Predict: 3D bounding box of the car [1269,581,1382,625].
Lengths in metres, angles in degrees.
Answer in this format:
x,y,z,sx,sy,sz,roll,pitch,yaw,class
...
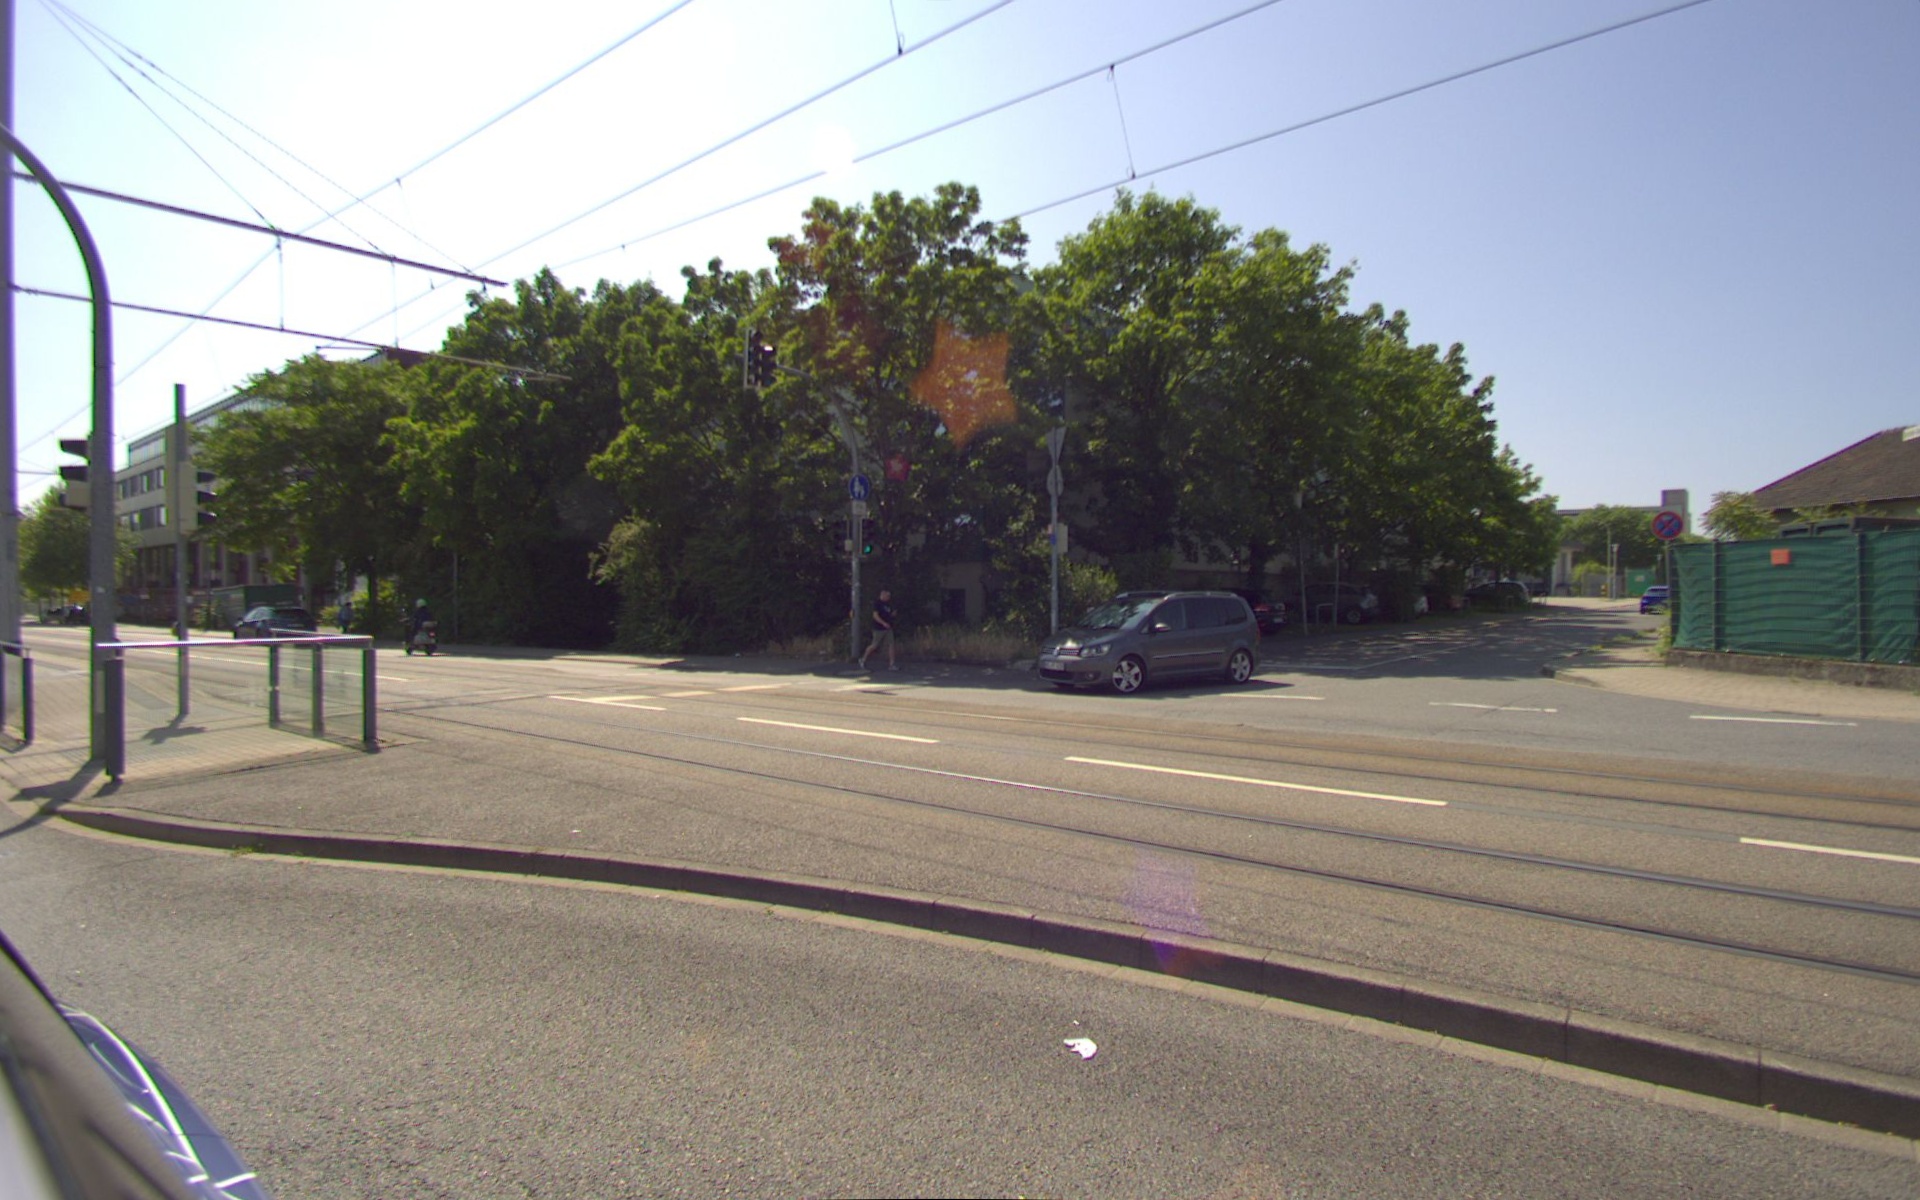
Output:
x,y,z,sx,sy,sz,roll,pitch,yaw,class
14.219,0.117,39.404,3.858,1.650,1.607,-1,0,35,car

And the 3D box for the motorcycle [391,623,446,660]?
x,y,z,sx,sy,sz,roll,pitch,yaw,class
-15.848,1.193,29.607,1.963,1.019,0.814,-1,0,42,motorcycle

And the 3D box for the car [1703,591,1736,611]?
x,y,z,sx,sy,sz,roll,pitch,yaw,class
62.853,0.054,83.738,1.806,1.613,3.944,0,0,42,car

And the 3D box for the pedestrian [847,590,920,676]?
x,y,z,sx,sy,sz,roll,pitch,yaw,class
-1.583,0.667,20.985,1.159,1.682,0.877,-1,2,40,pedestrian

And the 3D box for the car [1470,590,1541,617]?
x,y,z,sx,sy,sz,roll,pitch,yaw,class
33.979,0.218,63.093,3.692,1.619,1.553,-1,0,40,car

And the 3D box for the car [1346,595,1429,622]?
x,y,z,sx,sy,sz,roll,pitch,yaw,class
18.504,0.374,43.860,3.116,1.133,1.196,-1,0,35,car

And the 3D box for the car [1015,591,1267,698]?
x,y,z,sx,sy,sz,roll,pitch,yaw,class
3.137,0.656,17.202,4.123,1.595,1.937,-1,0,-37,car

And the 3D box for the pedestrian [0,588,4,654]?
x,y,z,sx,sy,sz,roll,pitch,yaw,class
-25.601,0.557,26.485,0.944,1.738,0.716,-1,0,40,pedestrian

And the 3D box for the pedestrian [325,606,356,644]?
x,y,z,sx,sy,sz,roll,pitch,yaw,class
-25.536,1.020,41.737,0.845,1.538,0.862,-1,0,39,pedestrian

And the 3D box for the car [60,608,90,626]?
x,y,z,sx,sy,sz,roll,pitch,yaw,class
-82.635,1.607,94.465,1.969,1.635,4.005,1,-1,-42,car

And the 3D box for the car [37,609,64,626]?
x,y,z,sx,sy,sz,roll,pitch,yaw,class
-88.798,1.731,98.800,1.844,1.630,4.005,1,-1,-42,car

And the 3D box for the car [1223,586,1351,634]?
x,y,z,sx,sy,sz,roll,pitch,yaw,class
10.562,0.330,32.853,3.834,1.478,1.617,-1,0,17,car

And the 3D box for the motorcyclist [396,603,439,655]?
x,y,z,sx,sy,sz,roll,pitch,yaw,class
-15.881,0.824,29.624,0.962,1.486,0.827,-1,0,42,motorcyclist

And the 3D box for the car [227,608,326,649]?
x,y,z,sx,sy,sz,roll,pitch,yaw,class
-25.692,1.060,37.986,4.592,1.453,1.887,-1,-2,40,car

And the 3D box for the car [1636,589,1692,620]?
x,y,z,sx,sy,sz,roll,pitch,yaw,class
36.321,0.220,52.176,1.806,1.548,4.103,-1,0,43,car
